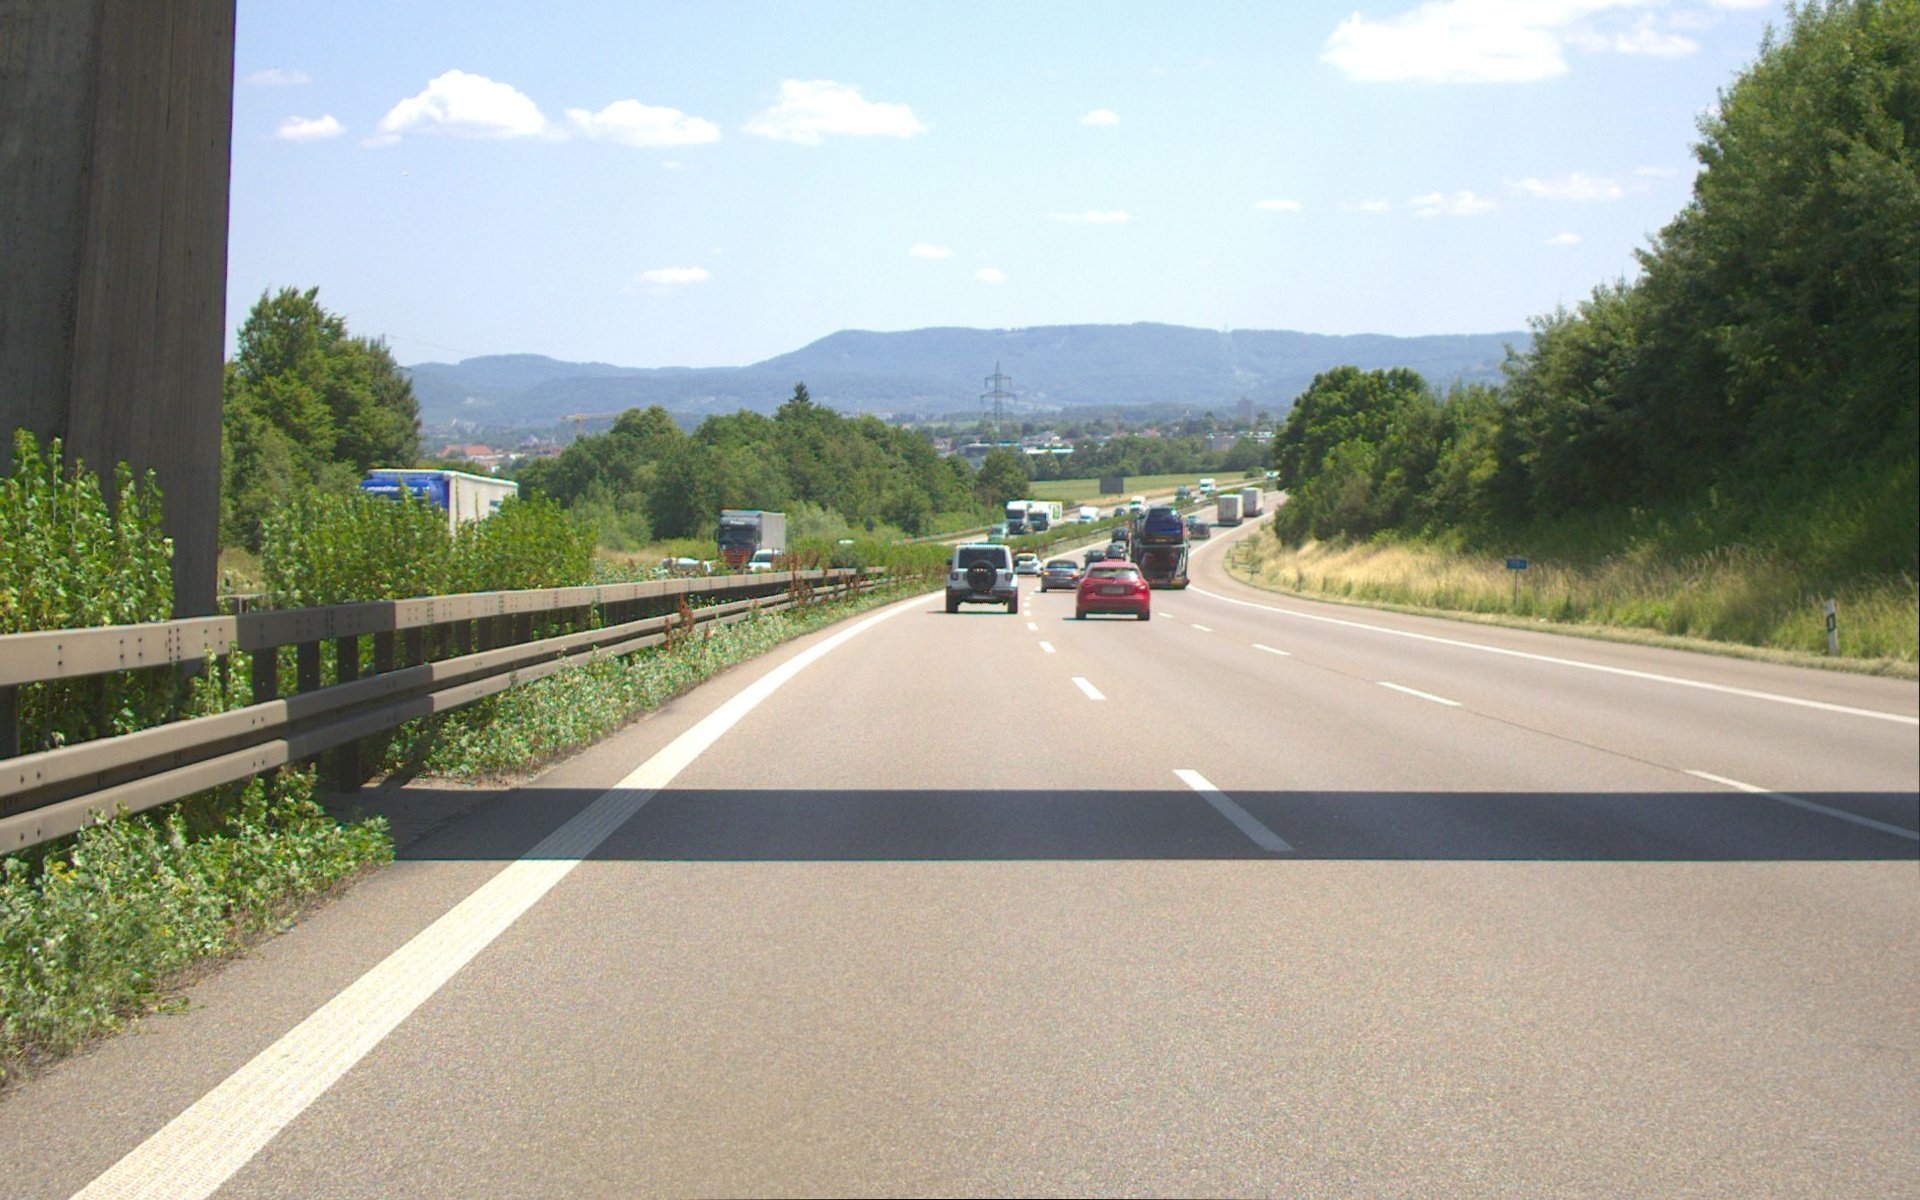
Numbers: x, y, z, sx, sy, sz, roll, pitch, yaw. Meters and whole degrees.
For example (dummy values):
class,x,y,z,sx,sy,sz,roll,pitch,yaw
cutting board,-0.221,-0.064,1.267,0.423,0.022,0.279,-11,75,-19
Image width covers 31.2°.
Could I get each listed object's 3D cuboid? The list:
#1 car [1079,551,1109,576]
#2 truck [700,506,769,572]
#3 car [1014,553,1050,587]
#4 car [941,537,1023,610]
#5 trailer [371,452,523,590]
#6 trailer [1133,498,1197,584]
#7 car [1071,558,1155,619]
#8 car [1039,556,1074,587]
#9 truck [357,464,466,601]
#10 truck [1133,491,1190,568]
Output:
class,x,y,z,sx,sy,sz,roll,pitch,yaw
car,9.489,-2.607,243.321,1.636,1.699,3.400,1,2,9
truck,-14.177,-3.827,217.165,2.975,4.000,16.828,1,1,1
car,4.425,-1.854,210.852,1.698,2.006,3.821,1,2,9
car,0.558,-0.733,93.176,2.083,1.823,4.754,1,2,-1
trailer,-16.856,-2.692,114.012,2.634,4.239,14.677,1,2,1
trailer,10.109,-3.009,170.659,2.855,3.979,15.396,1,2,2
car,3.739,-0.300,84.590,1.686,1.374,3.949,1,2,-3
car,4.183,-1.247,149.595,1.452,1.263,3.539,1,2,1
truck,-16.942,-2.118,106.433,2.493,4.104,5.084,1,2,1
truck,10.462,-3.699,178.633,2.754,3.839,6.644,1,2,2
